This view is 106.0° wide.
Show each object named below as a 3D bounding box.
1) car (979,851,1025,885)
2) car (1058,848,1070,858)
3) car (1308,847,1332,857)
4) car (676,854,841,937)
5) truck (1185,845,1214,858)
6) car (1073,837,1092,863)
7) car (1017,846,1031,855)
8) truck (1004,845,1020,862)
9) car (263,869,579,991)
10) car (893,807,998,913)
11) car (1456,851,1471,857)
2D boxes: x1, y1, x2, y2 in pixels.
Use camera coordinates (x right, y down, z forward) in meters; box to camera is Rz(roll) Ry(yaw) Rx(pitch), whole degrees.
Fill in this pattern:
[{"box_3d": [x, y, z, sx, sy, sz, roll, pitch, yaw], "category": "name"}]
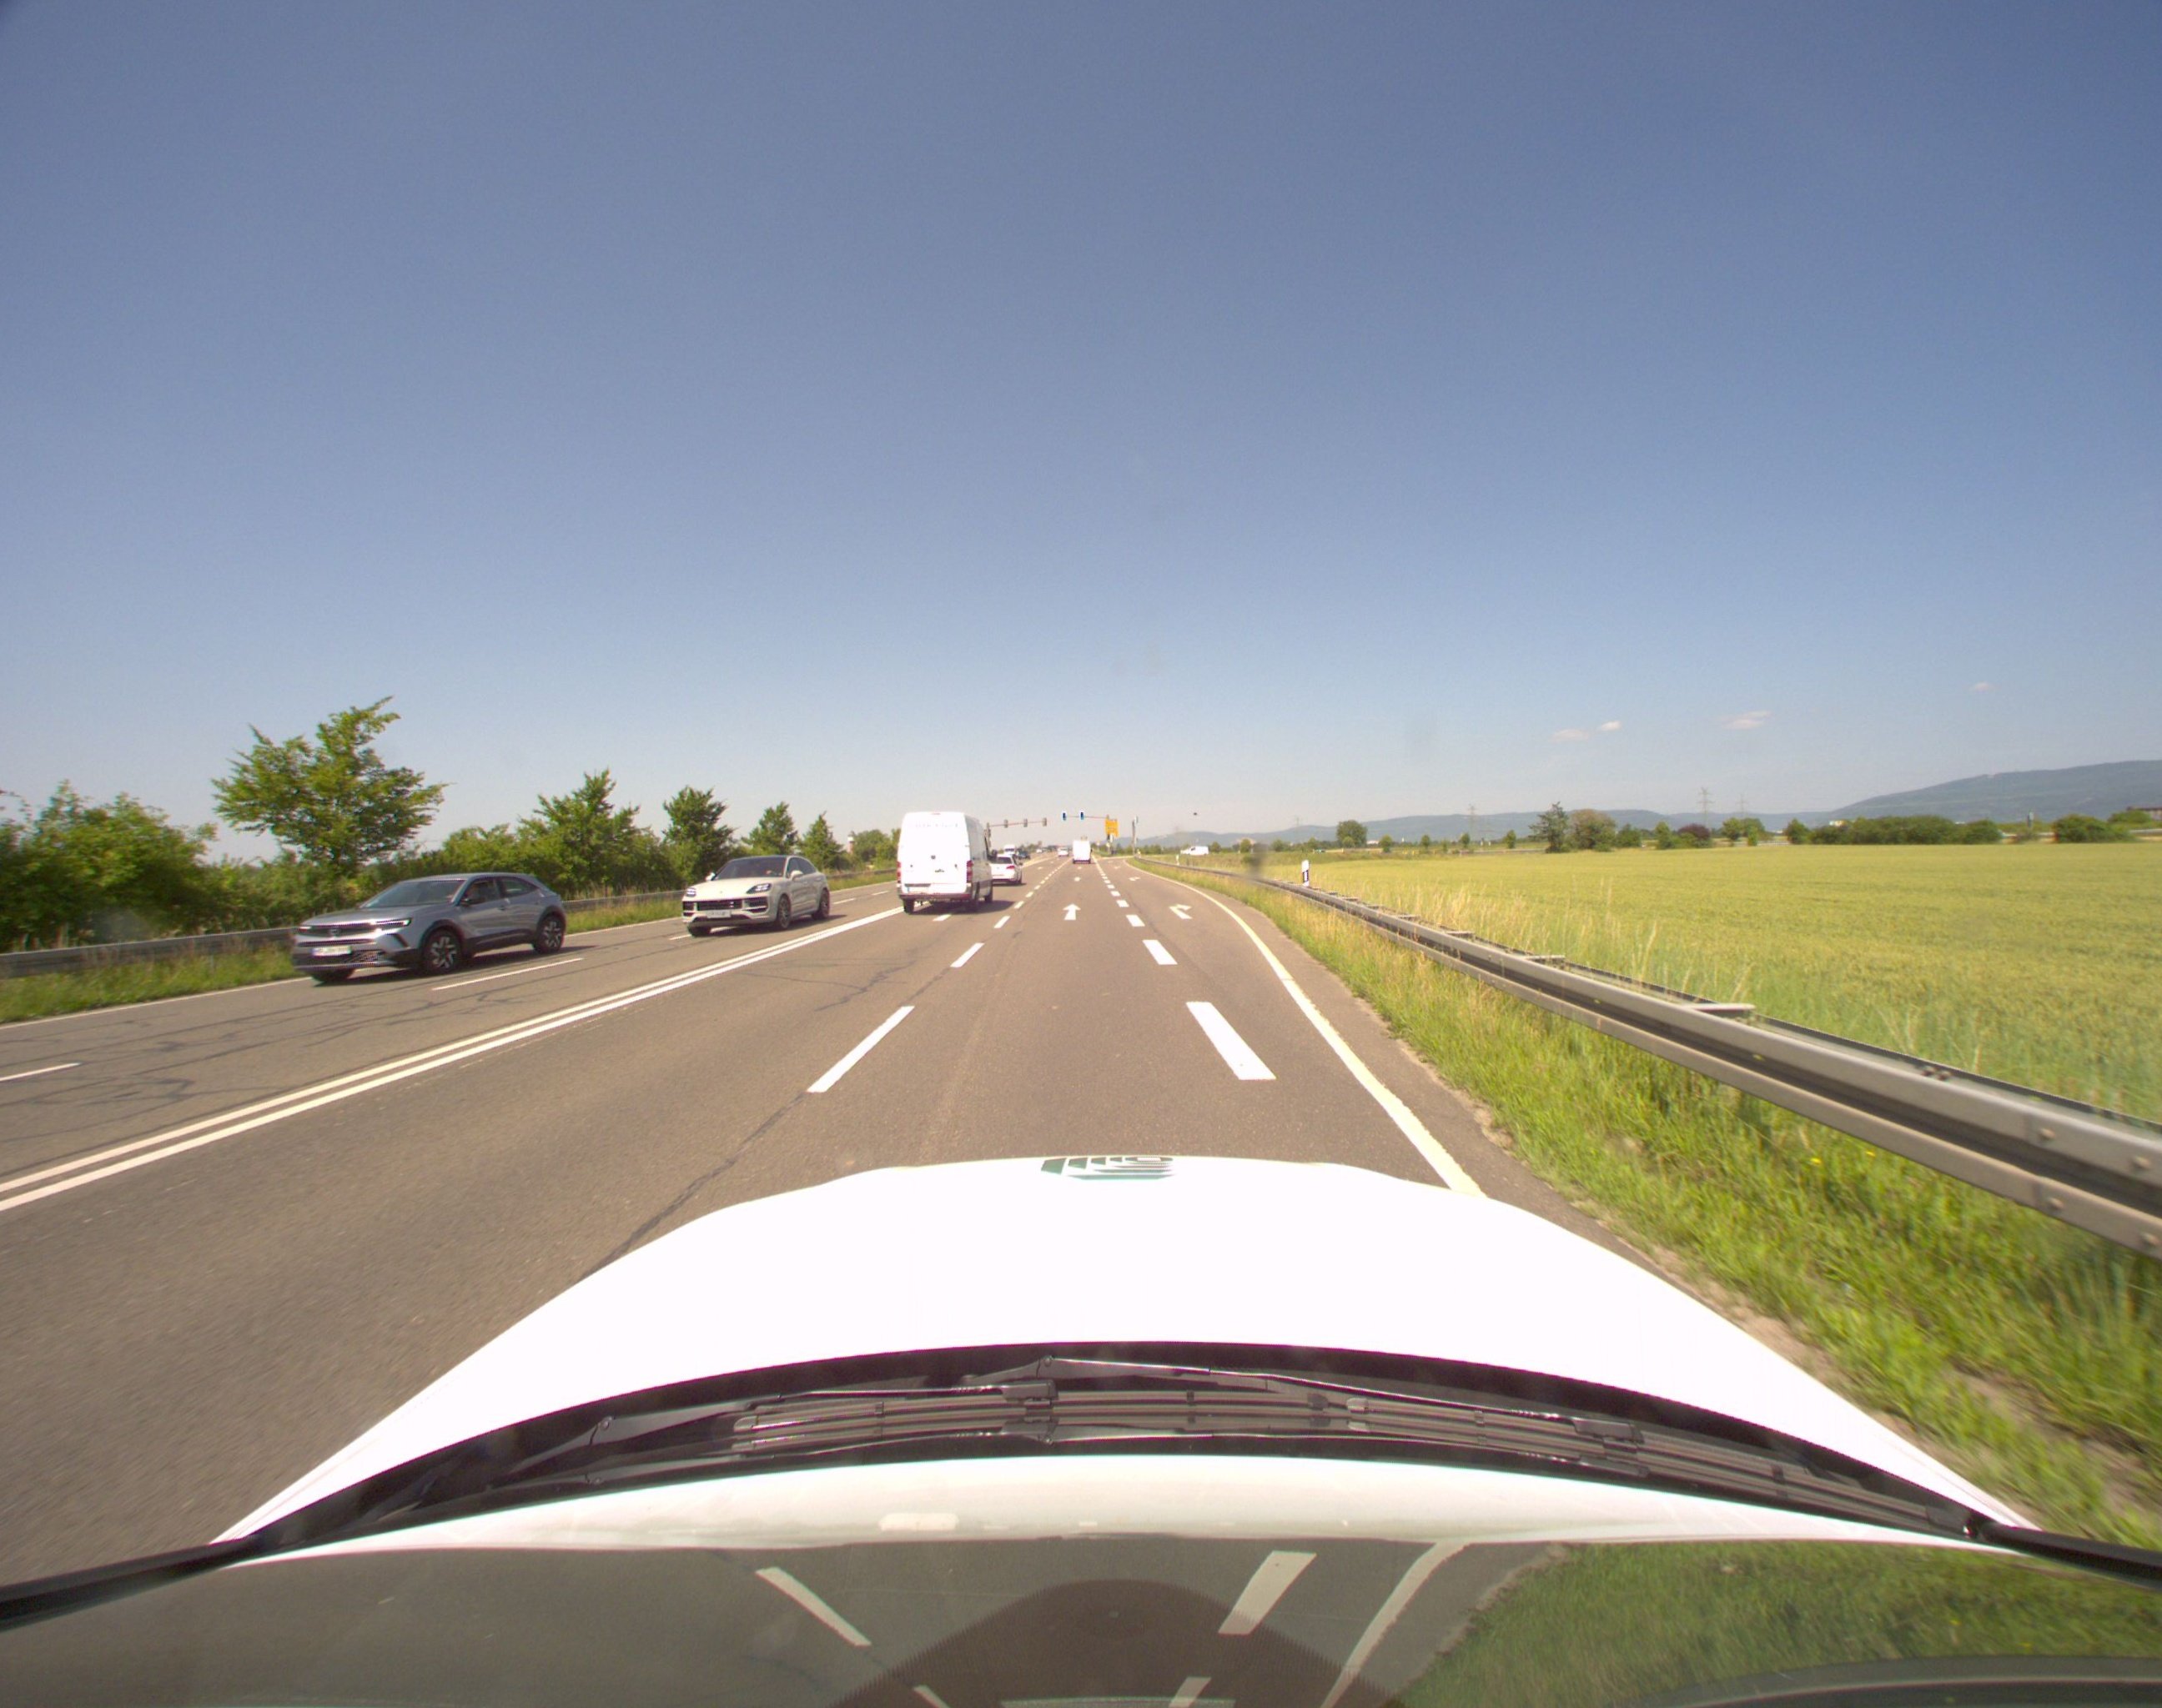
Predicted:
[{"box_3d": [-3.769, 0.638, 39.297, 1.794, 1.508, 4.195, -1, 0, 0], "category": "car"}, {"box_3d": [-3.102, -0.206, 147.737, 1.987, 1.703, 4.274, 0, -1, 0], "category": "car"}, {"box_3d": [45.070, -0.384, 153.418, 4.005, 1.684, 1.984, 0, -1, -24], "category": "car"}, {"box_3d": [-7.211, 0.838, 18.841, 1.834, 1.587, 4.874, -3, 0, 0], "category": "car"}, {"box_3d": [21.277, -0.504, 146.384, 4.852, 2.320, 1.990, 0, -1, -15], "category": "truck"}, {"box_3d": [0.133, -0.427, 89.811, 1.987, 2.695, 4.969, -2, 0, 0], "category": "car"}, {"box_3d": [-9.227, -0.602, 132.601, 1.850, 1.423, 4.001, -1, -1, 1], "category": "car"}, {"box_3d": [-12.521, -0.133, 147.936, 2.288, 2.957, 5.284, -1, -1, 1], "category": "truck"}, {"box_3d": [-10.529, 1.104, 13.487, 1.814, 1.508, 4.125, -3, 0, -1], "category": "car"}, {"box_3d": [-3.710, 0.170, 23.377, 2.033, 2.620, 5.739, -1, 0, -1], "category": "car"}, {"box_3d": [88.782, 0.046, 188.969, 3.495, 1.486, 1.633, 0, -1, -30], "category": "car"}]
